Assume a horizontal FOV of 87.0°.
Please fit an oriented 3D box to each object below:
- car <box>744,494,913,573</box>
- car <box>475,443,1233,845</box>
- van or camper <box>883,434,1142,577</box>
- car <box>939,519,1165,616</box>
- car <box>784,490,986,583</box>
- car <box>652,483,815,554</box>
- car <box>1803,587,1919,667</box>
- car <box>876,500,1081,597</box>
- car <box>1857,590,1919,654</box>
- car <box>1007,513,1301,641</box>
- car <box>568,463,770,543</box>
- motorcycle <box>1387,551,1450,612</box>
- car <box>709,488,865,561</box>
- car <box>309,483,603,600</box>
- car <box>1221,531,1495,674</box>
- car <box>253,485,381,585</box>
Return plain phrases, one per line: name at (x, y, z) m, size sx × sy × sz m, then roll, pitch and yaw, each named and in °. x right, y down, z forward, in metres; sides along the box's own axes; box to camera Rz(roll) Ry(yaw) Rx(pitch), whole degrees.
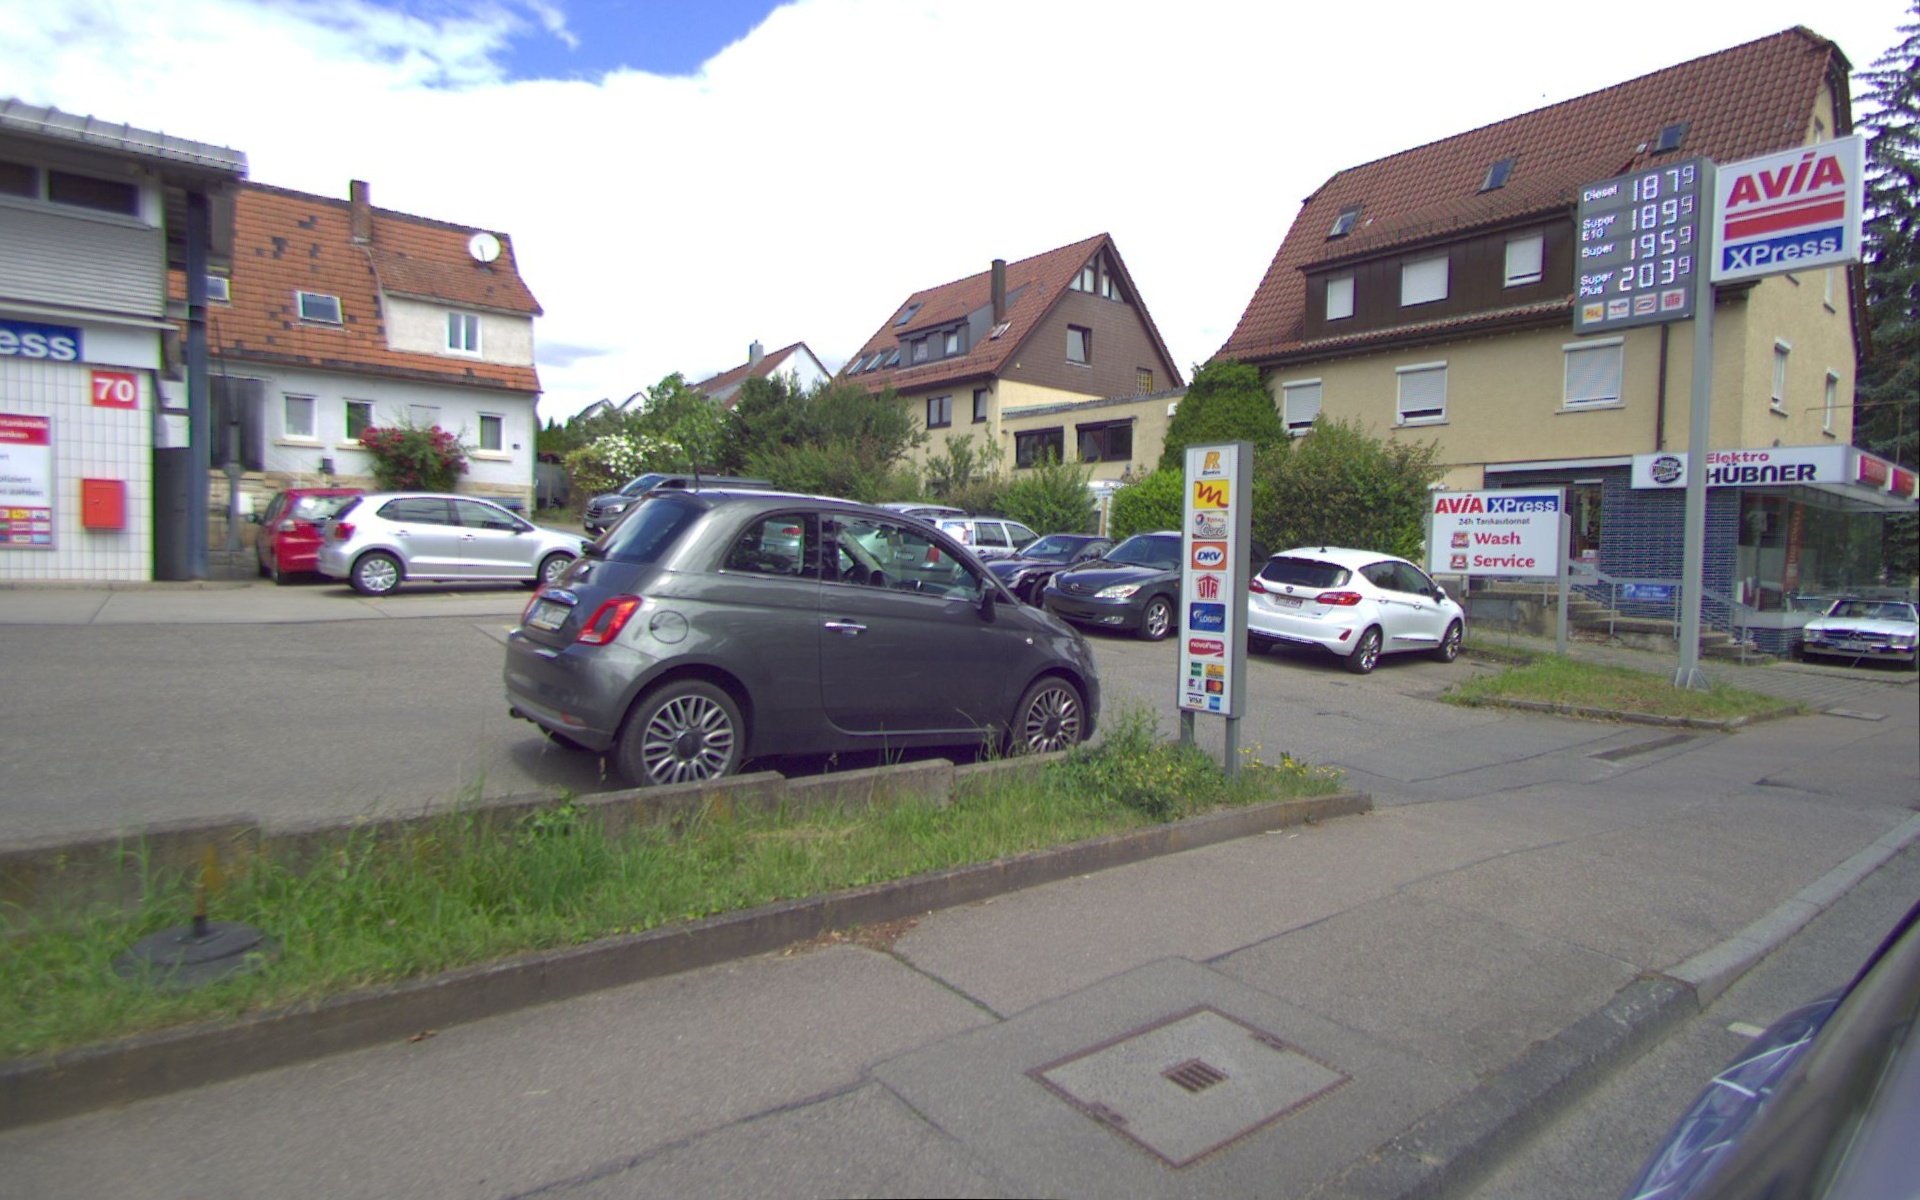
car at (-2.907, -1.470, 22.688) m, size 3.438 × 1.587 × 1.571 m, roll -1°, pitch 7°, yaw -41°
car at (-0.459, 0.094, 5.949) m, size 4.080 × 1.613 × 1.623 m, roll 0°, pitch 8°, yaw -36°
van or camper at (1.035, -2.293, 23.786) m, size 2.488 × 2.883 × 5.976 m, roll 0°, pitch 7°, yaw -41°
car at (1.611, -0.574, 17.077) m, size 3.682 × 1.388 × 1.640 m, roll -1°, pitch 7°, yaw -41°
car at (-1.498, -1.296, 21.012) m, size 3.978 × 1.702 × 1.571 m, roll -1°, pitch 7°, yaw -41°
car at (-5.914, -2.125, 26.659) m, size 3.884 × 1.650 × 1.571 m, roll -1°, pitch 7°, yaw -41°
car at (18.407, 0.460, 20.173) m, size 4.404 × 1.332 × 1.788 m, roll -1°, pitch 4°, yaw -42°
car at (0.407, -0.978, 19.225) m, size 3.682 × 1.603 × 1.641 m, roll -1°, pitch 7°, yaw -41°
car at (22.274, 0.479, 23.283) m, size 4.240 × 1.299 × 1.789 m, roll -1°, pitch 4°, yaw -40°
car at (2.996, -0.383, 15.040) m, size 4.575 × 1.560 × 1.717 m, roll -1°, pitch 7°, yaw -40°
car at (-8.017, -2.667, 28.209) m, size 5.048 × 1.940 × 1.924 m, roll -1°, pitch 7°, yaw -41°
motorcycle at (10.863, -0.457, 23.963) m, size 1.873 × 1.325 × 0.403 m, roll -4°, pitch 10°, yaw -37°
car at (-4.218, -1.833, 24.860) m, size 3.438 × 1.587 × 1.571 m, roll -1°, pitch 7°, yaw -41°
car at (-7.463, -0.940, 15.131) m, size 3.679 × 1.518 × 1.636 m, roll -4°, pitch 8°, yaw -37°
car at (5.450, -0.052, 13.621) m, size 4.132 × 1.546 × 1.638 m, roll -1°, pitch 7°, yaw -41°
car at (-10.828, -1.146, 16.944) m, size 1.591 × 1.477 × 3.758 m, roll -3°, pitch 6°, yaw -35°
